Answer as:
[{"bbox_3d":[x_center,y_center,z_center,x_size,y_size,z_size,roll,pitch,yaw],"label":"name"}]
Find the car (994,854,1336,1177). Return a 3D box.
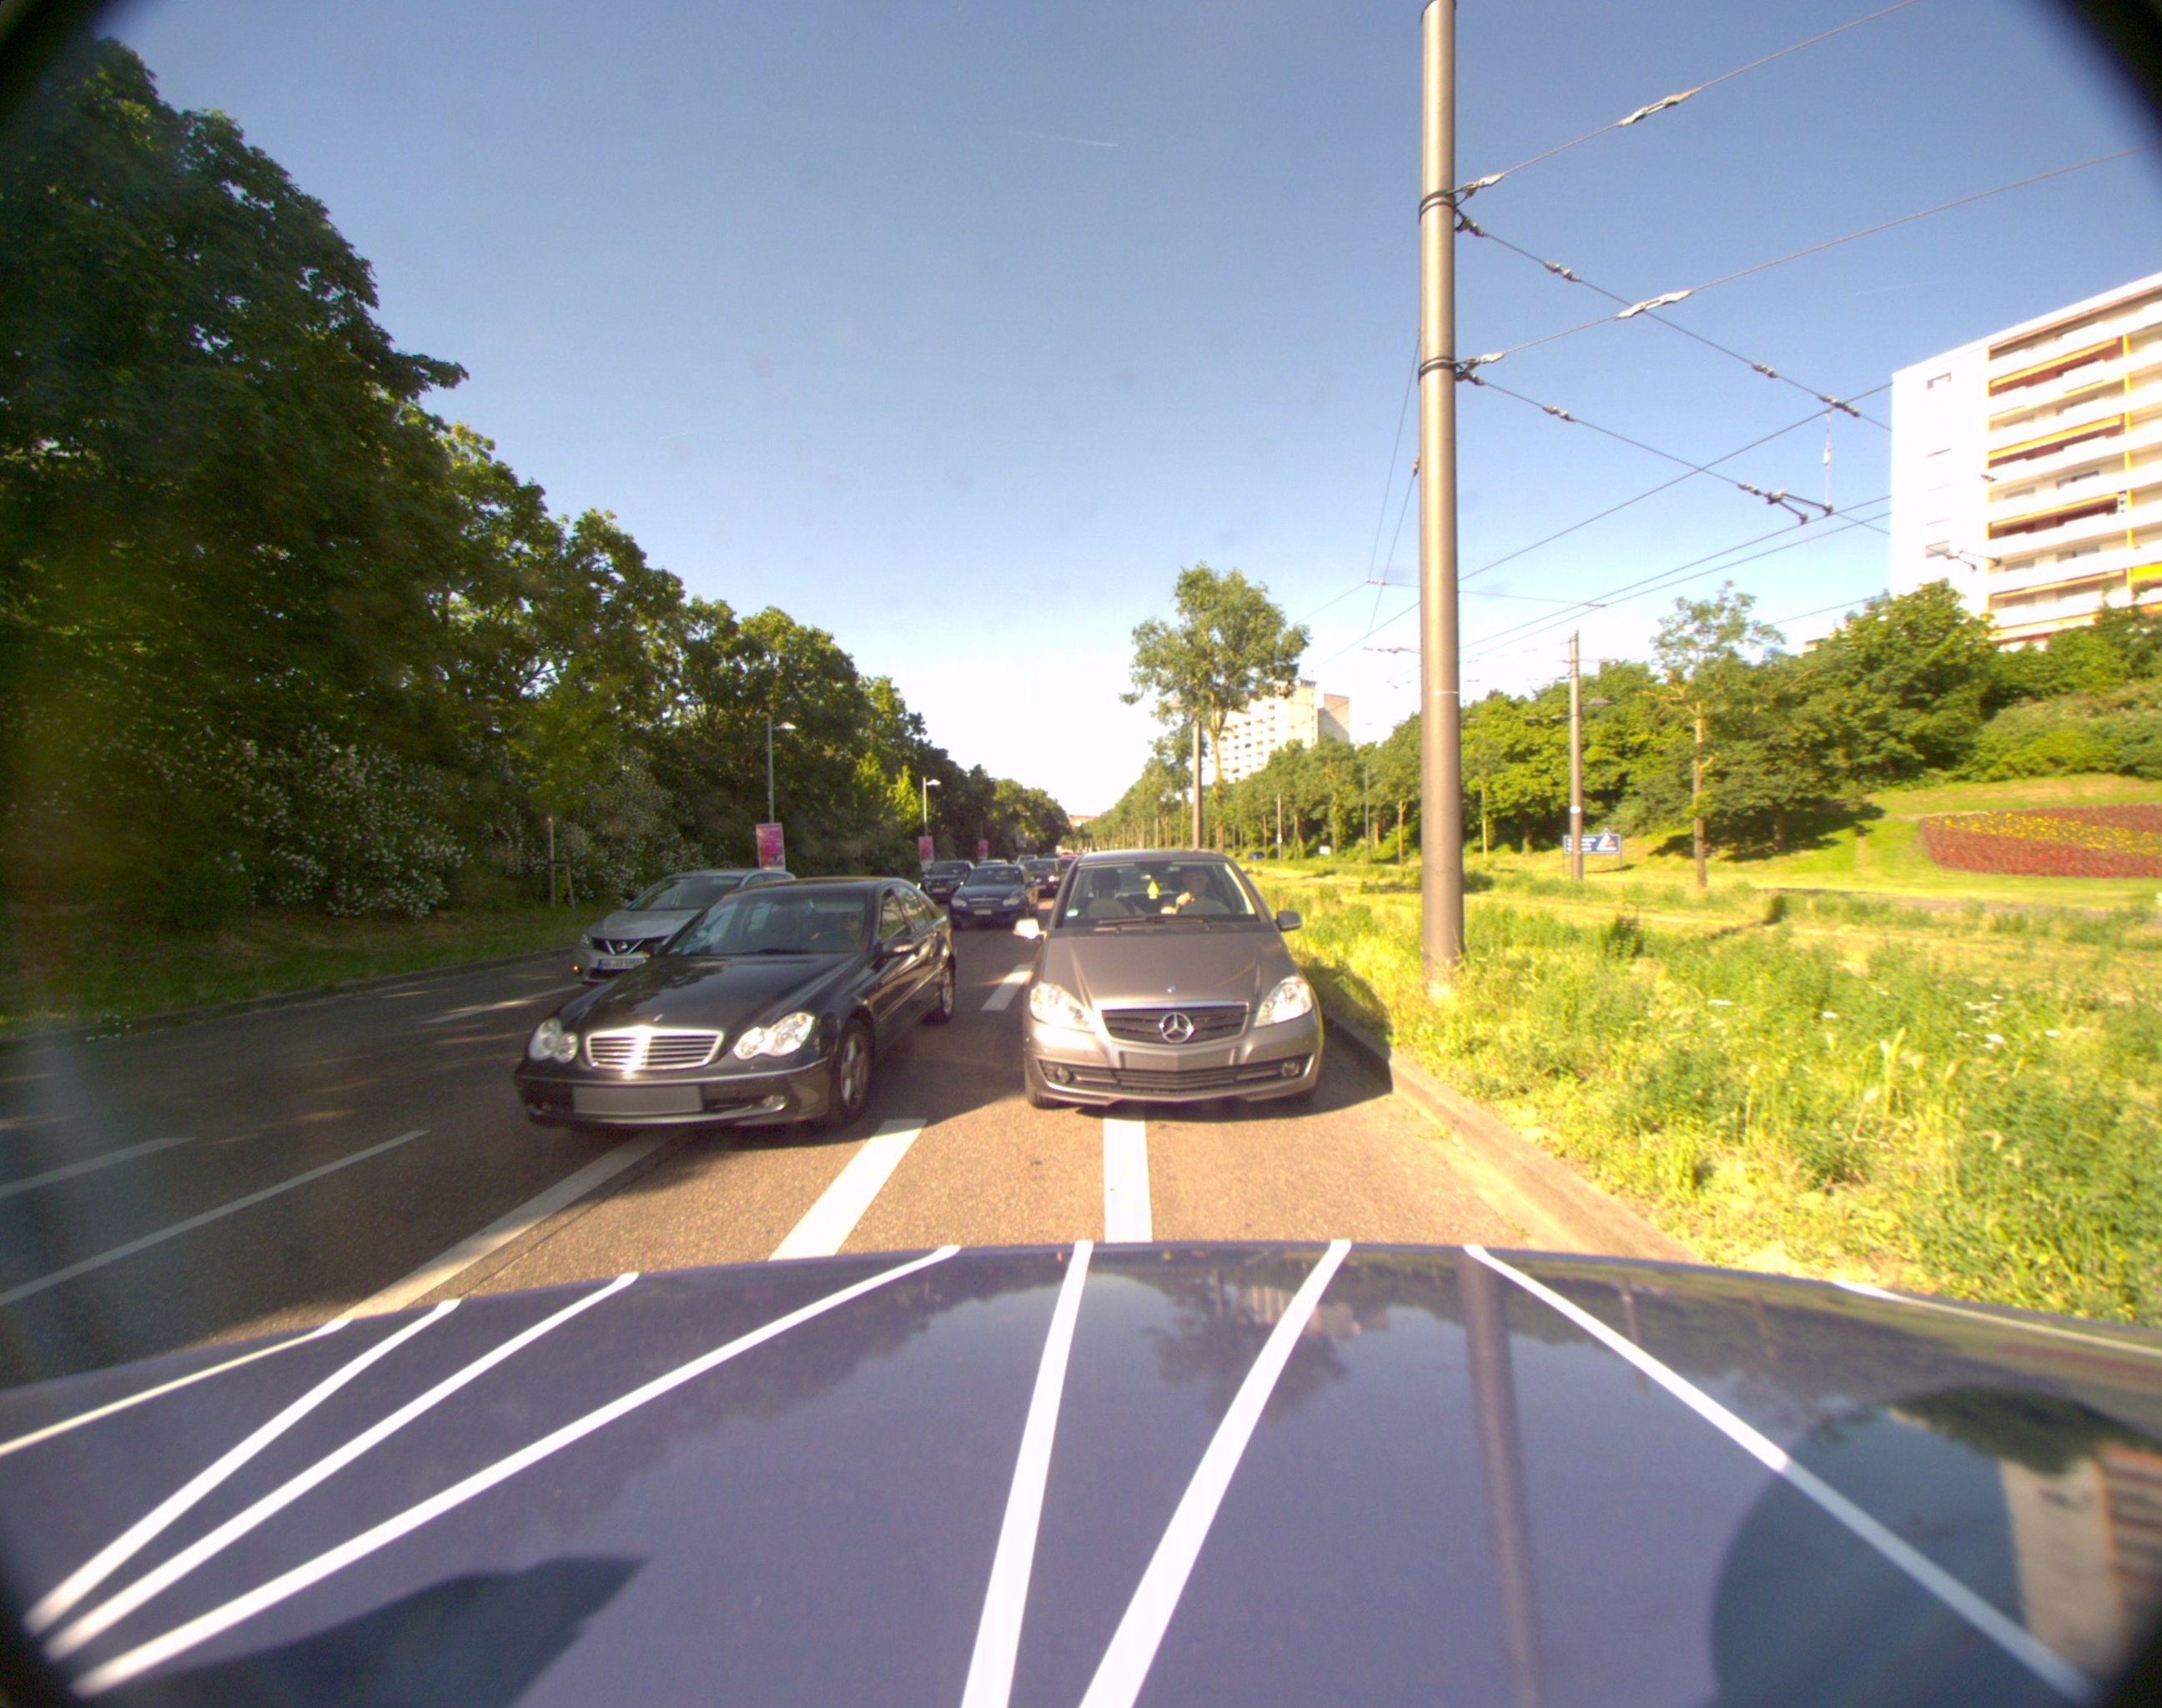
[{"bbox_3d":[0.474,0.859,6.020,1.749,1.630,4.000,-2,0,1],"label":"car"}]

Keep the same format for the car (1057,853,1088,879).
[{"bbox_3d":[-0.457,0.721,46.707,1.685,1.437,3.727,-2,1,2],"label":"car"}]

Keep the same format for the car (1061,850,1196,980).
[{"bbox_3d":[0.667,0.809,12.175,1.749,1.652,3.999,-2,1,1],"label":"car"}]

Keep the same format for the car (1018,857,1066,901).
[{"bbox_3d":[-1.442,0.907,29.183,1.621,1.485,3.452,-2,1,0],"label":"car"}]

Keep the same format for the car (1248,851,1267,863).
[{"bbox_3d":[22.557,0.386,96.988,1.578,1.412,3.909,-1,0,1],"label":"car"}]

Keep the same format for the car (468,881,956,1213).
[{"bbox_3d":[-2.138,1.016,5.810,1.717,1.445,4.197,-1,0,-1],"label":"car"}]

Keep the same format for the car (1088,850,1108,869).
[{"bbox_3d":[1.536,0.492,70.225,1.749,1.652,3.999,-2,1,1],"label":"car"}]

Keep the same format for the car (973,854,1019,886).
[{"bbox_3d":[-4.324,0.795,39.338,1.749,1.427,4.386,-2,1,2],"label":"car"}]

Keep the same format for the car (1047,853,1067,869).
[{"bbox_3d":[-2.256,0.637,72.260,1.713,1.485,3.963,-2,0,1],"label":"car"}]

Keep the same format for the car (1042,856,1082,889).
[{"bbox_3d":[-0.862,0.869,37.038,1.713,1.430,4.171,-2,0,1],"label":"car"}]

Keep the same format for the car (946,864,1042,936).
[{"bbox_3d":[-1.942,1.006,18.124,1.723,1.411,4.050,-1,0,1],"label":"car"}]

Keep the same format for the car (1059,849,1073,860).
[{"bbox_3d":[-2.016,0.035,101.591,1.713,1.485,3.963,-2,0,1],"label":"car"}]

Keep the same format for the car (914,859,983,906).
[{"bbox_3d":[-4.772,0.984,27.932,1.713,1.485,3.963,-2,0,1],"label":"car"}]

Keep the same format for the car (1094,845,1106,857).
[{"bbox_3d":[2.601,-0.381,104.463,1.630,1.556,3.812,-2,1,1],"label":"car"}]

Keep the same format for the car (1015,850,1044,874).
[{"bbox_3d":[-3.686,0.528,54.600,1.749,1.652,4.000,-1,0,1],"label":"car"}]

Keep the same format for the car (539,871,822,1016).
[{"bbox_3d":[-5.328,1.088,10.845,1.726,1.508,4.137,-2,0,1],"label":"car"}]

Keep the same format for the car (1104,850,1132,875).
[{"bbox_3d":[2.570,0.590,53.257,1.749,1.652,4.000,-1,0,1],"label":"car"}]
